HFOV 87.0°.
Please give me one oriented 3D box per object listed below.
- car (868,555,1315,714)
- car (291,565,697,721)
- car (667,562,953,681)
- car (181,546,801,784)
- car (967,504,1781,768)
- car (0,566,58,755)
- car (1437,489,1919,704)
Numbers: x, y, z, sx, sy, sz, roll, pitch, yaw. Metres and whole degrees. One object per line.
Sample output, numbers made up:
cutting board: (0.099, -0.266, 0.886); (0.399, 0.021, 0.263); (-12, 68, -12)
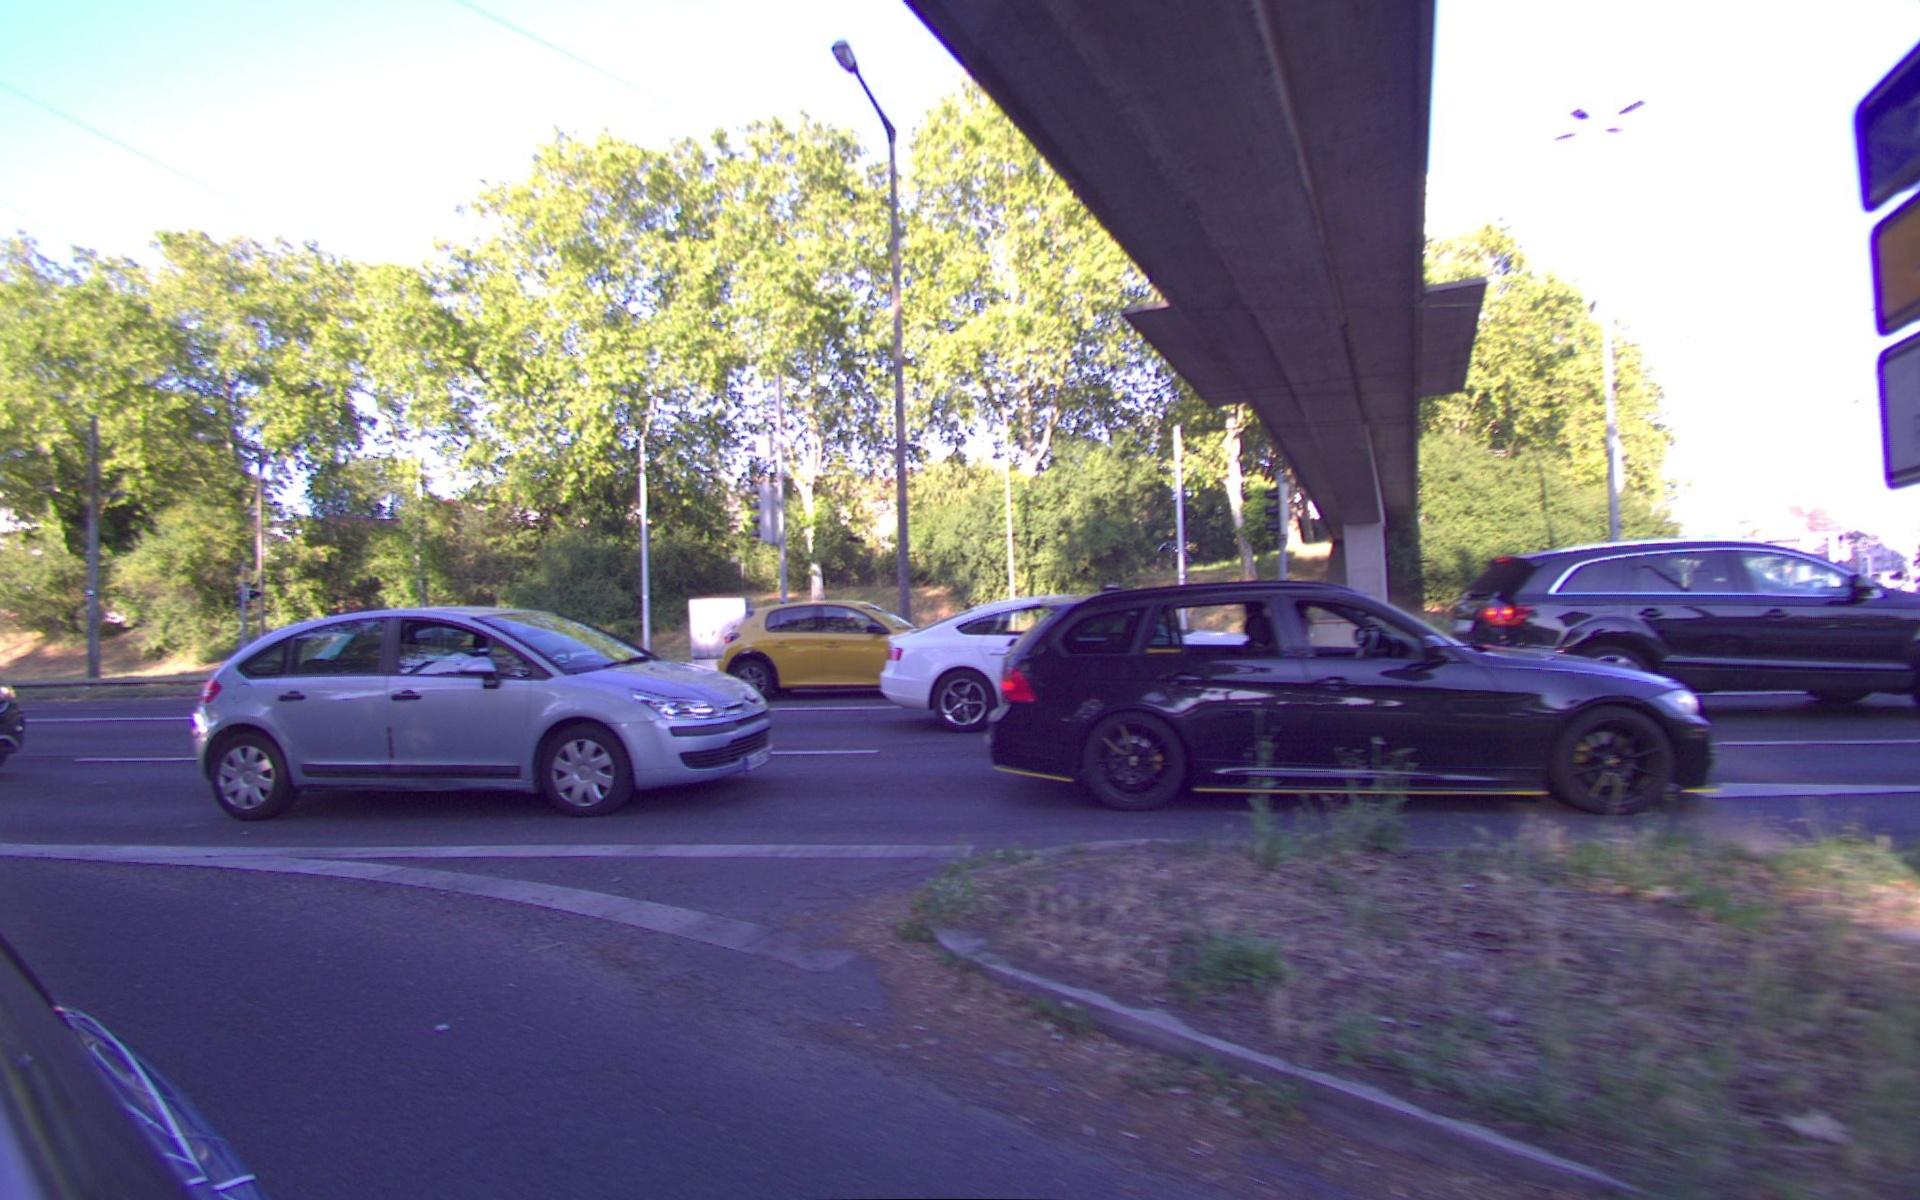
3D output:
car: (1.353, 0.367, 10.924); (4.361, 1.443, 1.743); (-2, 0, 9)
car: (-5.396, 0.532, 11.930); (4.143, 1.577, 1.663); (-2, -3, 9)
car: (-2.207, 0.363, 15.309); (3.954, 1.577, 1.663); (-2, -3, 9)
car: (-3.390, 0.510, 7.686); (3.954, 1.493, 1.793); (-2, -3, 9)
car: (2.377, 0.291, 6.764); (4.425, 1.393, 1.793); (-2, -3, 9)
car: (-10.987, 0.621, 9.404); (3.954, 1.763, 1.793); (-2, -3, 9)
car: (7.516, -0.031, 9.896); (4.776, 1.805, 1.792); (-2, 0, 12)
